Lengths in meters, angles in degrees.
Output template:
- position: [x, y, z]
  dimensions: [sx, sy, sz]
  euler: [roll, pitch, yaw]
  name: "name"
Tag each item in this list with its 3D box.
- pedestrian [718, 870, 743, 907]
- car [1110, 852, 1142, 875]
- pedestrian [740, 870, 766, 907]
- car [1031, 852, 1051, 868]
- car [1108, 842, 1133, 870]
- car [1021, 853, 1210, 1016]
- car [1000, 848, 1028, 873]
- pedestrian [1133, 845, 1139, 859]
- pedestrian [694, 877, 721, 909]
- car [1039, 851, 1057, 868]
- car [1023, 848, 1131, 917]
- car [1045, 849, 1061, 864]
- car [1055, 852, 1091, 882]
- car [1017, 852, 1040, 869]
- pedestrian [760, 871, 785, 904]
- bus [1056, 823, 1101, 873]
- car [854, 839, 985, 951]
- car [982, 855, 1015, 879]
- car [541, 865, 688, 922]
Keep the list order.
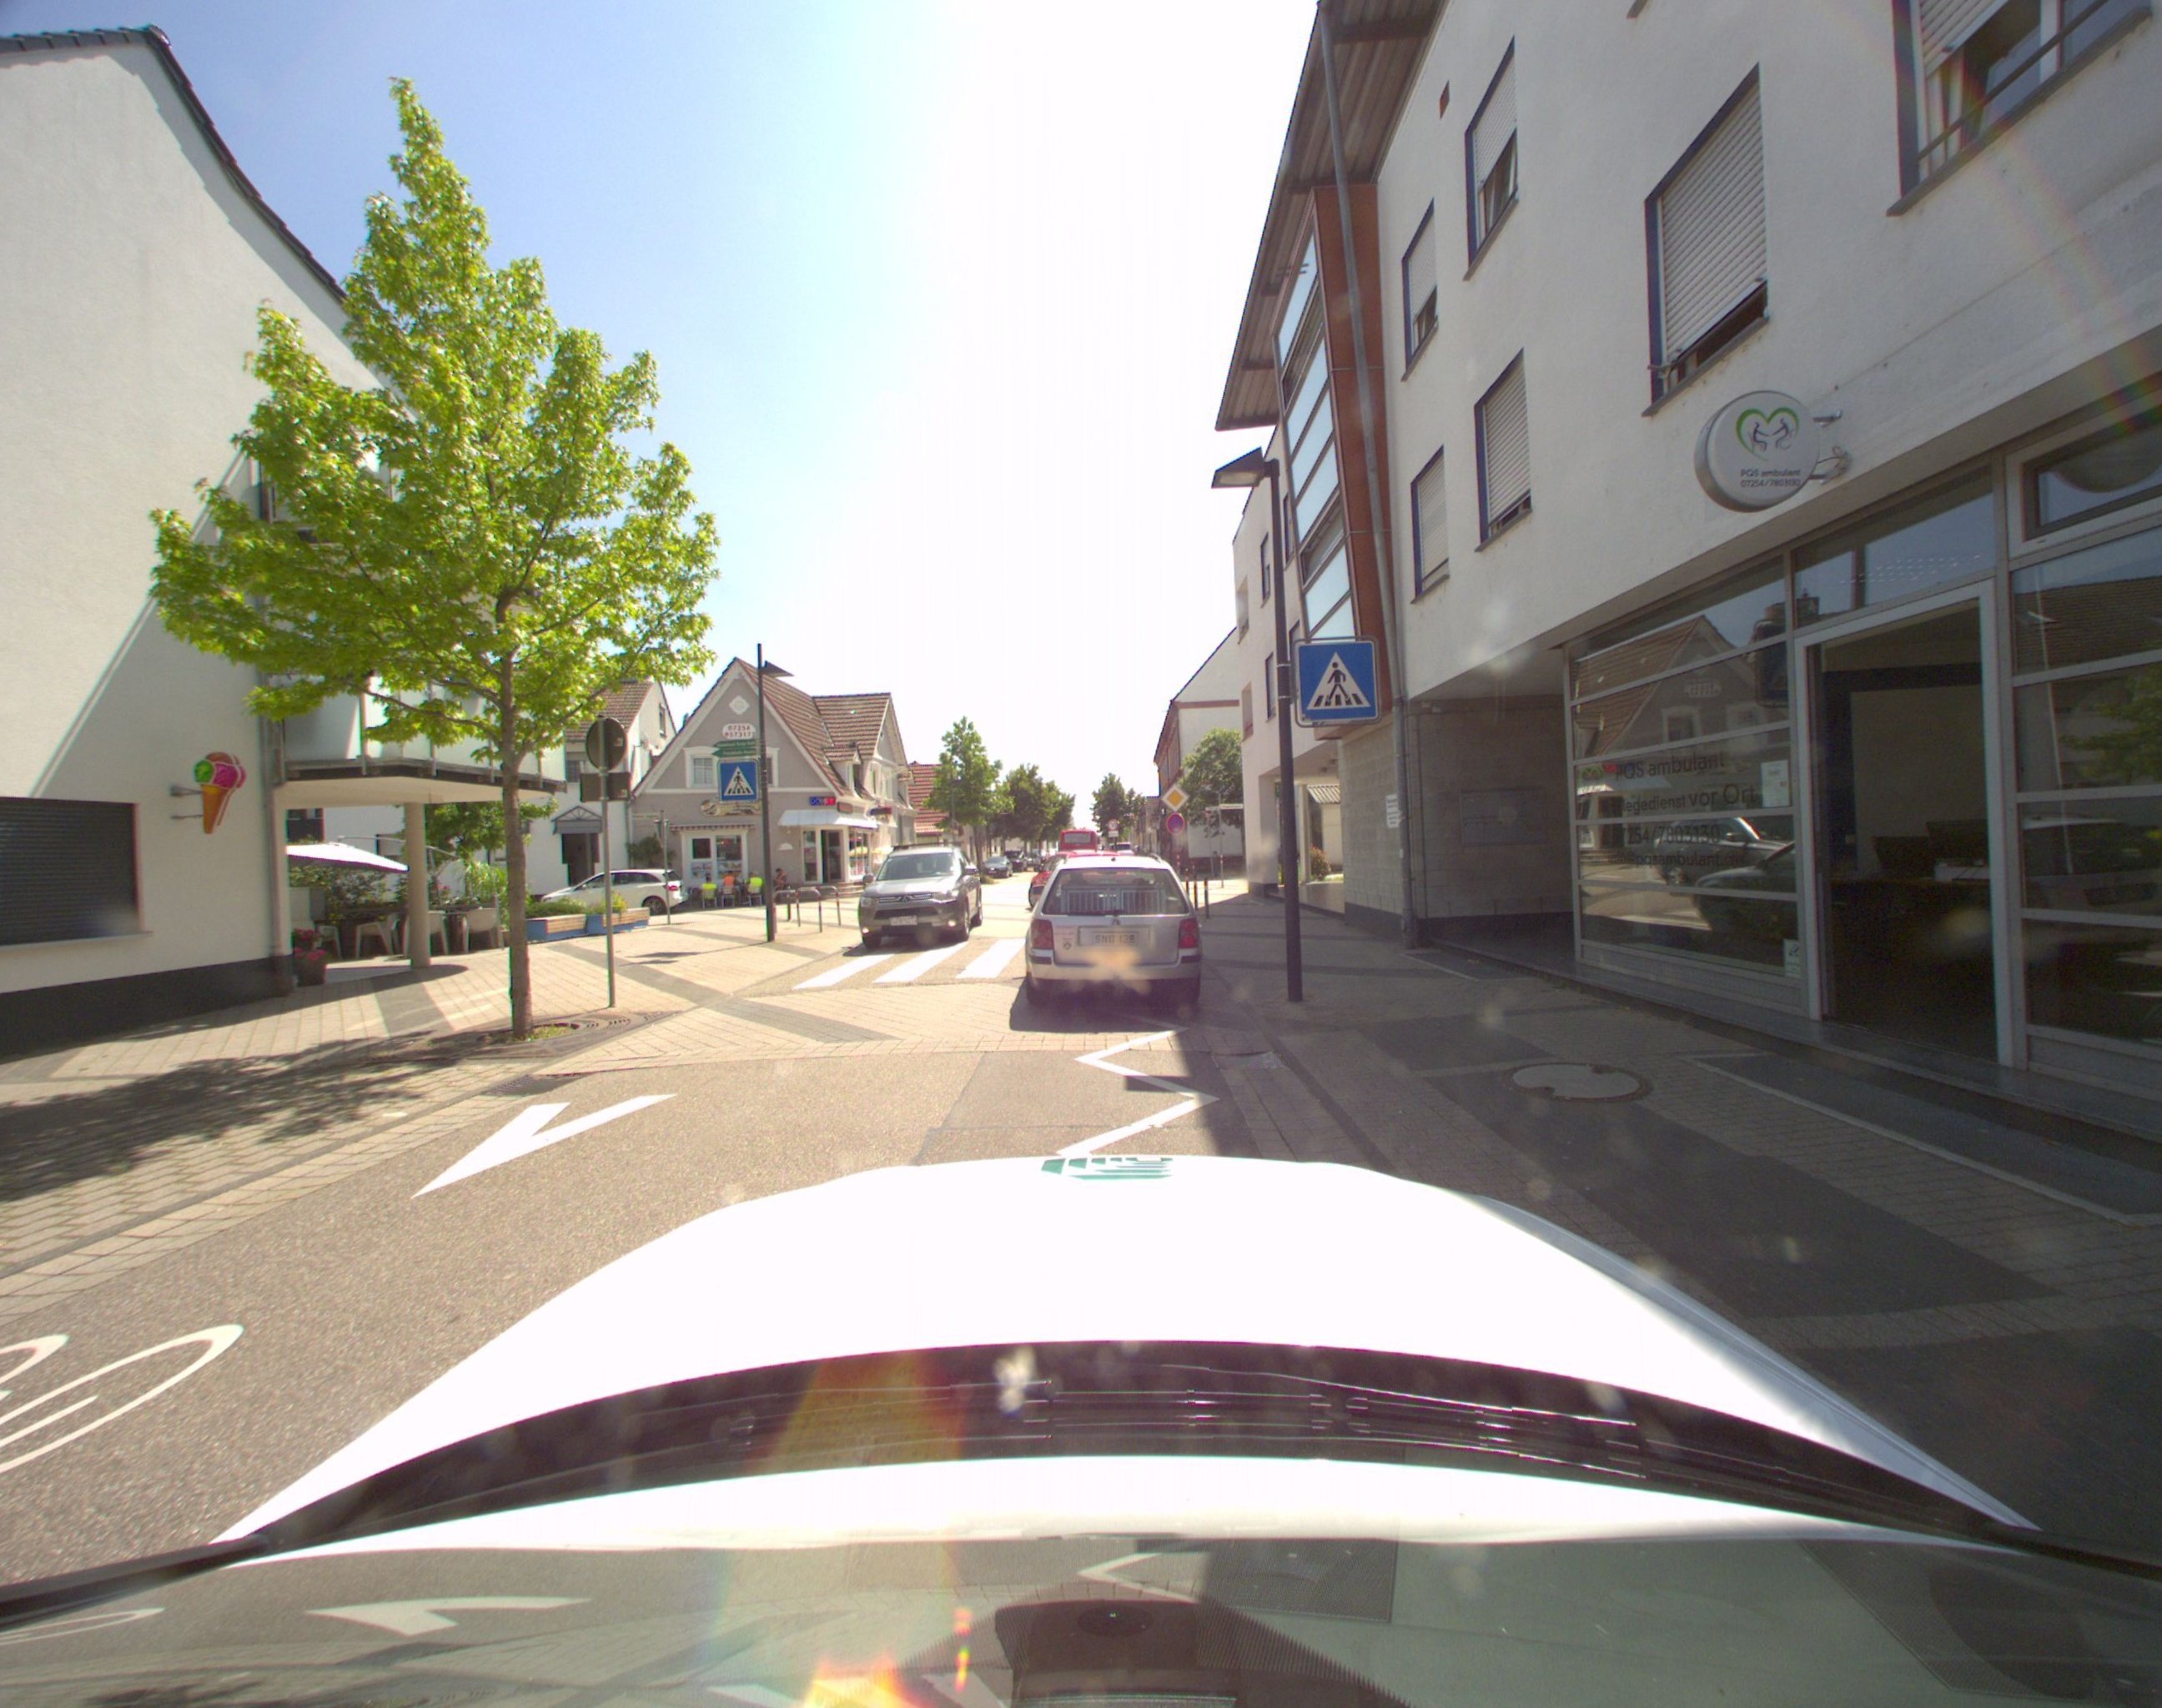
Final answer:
- position: [-12.729, 1.248, 29.573]
  dimensions: [0.639, 1.289, 0.780]
  euler: [0, 0, -42]
  name: "pedestrian"
- position: [2.676, 0.549, 49.151]
  dimensions: [1.713, 1.309, 3.627]
  euler: [-3, 0, 1]
  name: "car"
- position: [-11.809, 1.217, 29.350]
  dimensions: [0.639, 1.289, 0.780]
  euler: [0, 0, -42]
  name: "pedestrian"
- position: [-4.283, 0.633, 87.032]
  dimensions: [1.805, 1.559, 4.001]
  euler: [-3, 0, 1]
  name: "car"
- position: [3.113, 0.178, 64.482]
  dimensions: [1.781, 2.082, 3.627]
  euler: [-3, 0, 1]
  name: "car"
- position: [0.355, 0.716, 9.059]
  dimensions: [1.671, 1.430, 3.681]
  euler: [0, 0, 1]
  name: "car"
- position: [-5.337, 0.501, 65.589]
  dimensions: [1.758, 1.837, 3.790]
  euler: [-3, 0, 1]
  name: "car"
- position: [6.624, -0.245, 97.822]
  dimensions: [0.604, 1.667, 0.789]
  euler: [-3, 0, 0]
  name: "pedestrian"
- position: [-13.222, 1.370, 28.825]
  dimensions: [0.639, 1.116, 0.780]
  euler: [0, 0, -42]
  name: "pedestrian"
- position: [-4.032, 0.674, 99.850]
  dimensions: [1.805, 1.995, 4.001]
  euler: [-3, 0, 1]
  name: "car"
- position: [-0.196, 0.610, 19.420]
  dimensions: [1.680, 1.430, 3.660]
  euler: [-1, 0, -16]
  name: "car"
- position: [-3.598, 0.275, 105.986]
  dimensions: [1.714, 1.802, 4.001]
  euler: [-3, 0, 1]
  name: "car"
- position: [-0.377, 0.654, 41.905]
  dimensions: [1.587, 1.430, 3.682]
  euler: [-1, 0, 2]
  name: "car"
- position: [-5.151, 0.644, 80.397]
  dimensions: [1.805, 1.559, 4.001]
  euler: [-3, 0, 1]
  name: "car"
- position: [-11.522, 1.251, 30.412]
  dimensions: [0.620, 1.179, 0.696]
  euler: [-3, 0, -3]
  name: "pedestrian"
- position: [-0.013, -0.417, 61.412]
  dimensions: [2.729, 3.298, 12.712]
  euler: [-2, 0, 2]
  name: "bus"
- position: [-2.835, 0.646, 15.182]
  dimensions: [1.671, 1.716, 4.228]
  euler: [-3, 0, -2]
  name: "car"
- position: [-5.448, 0.839, 53.929]
  dimensions: [1.599, 1.438, 4.066]
  euler: [-3, 0, 1]
  name: "car"
- position: [-15.477, 1.277, 27.229]
  dimensions: [3.923, 1.545, 1.510]
  euler: [-3, 2, -16]
  name: "car"
